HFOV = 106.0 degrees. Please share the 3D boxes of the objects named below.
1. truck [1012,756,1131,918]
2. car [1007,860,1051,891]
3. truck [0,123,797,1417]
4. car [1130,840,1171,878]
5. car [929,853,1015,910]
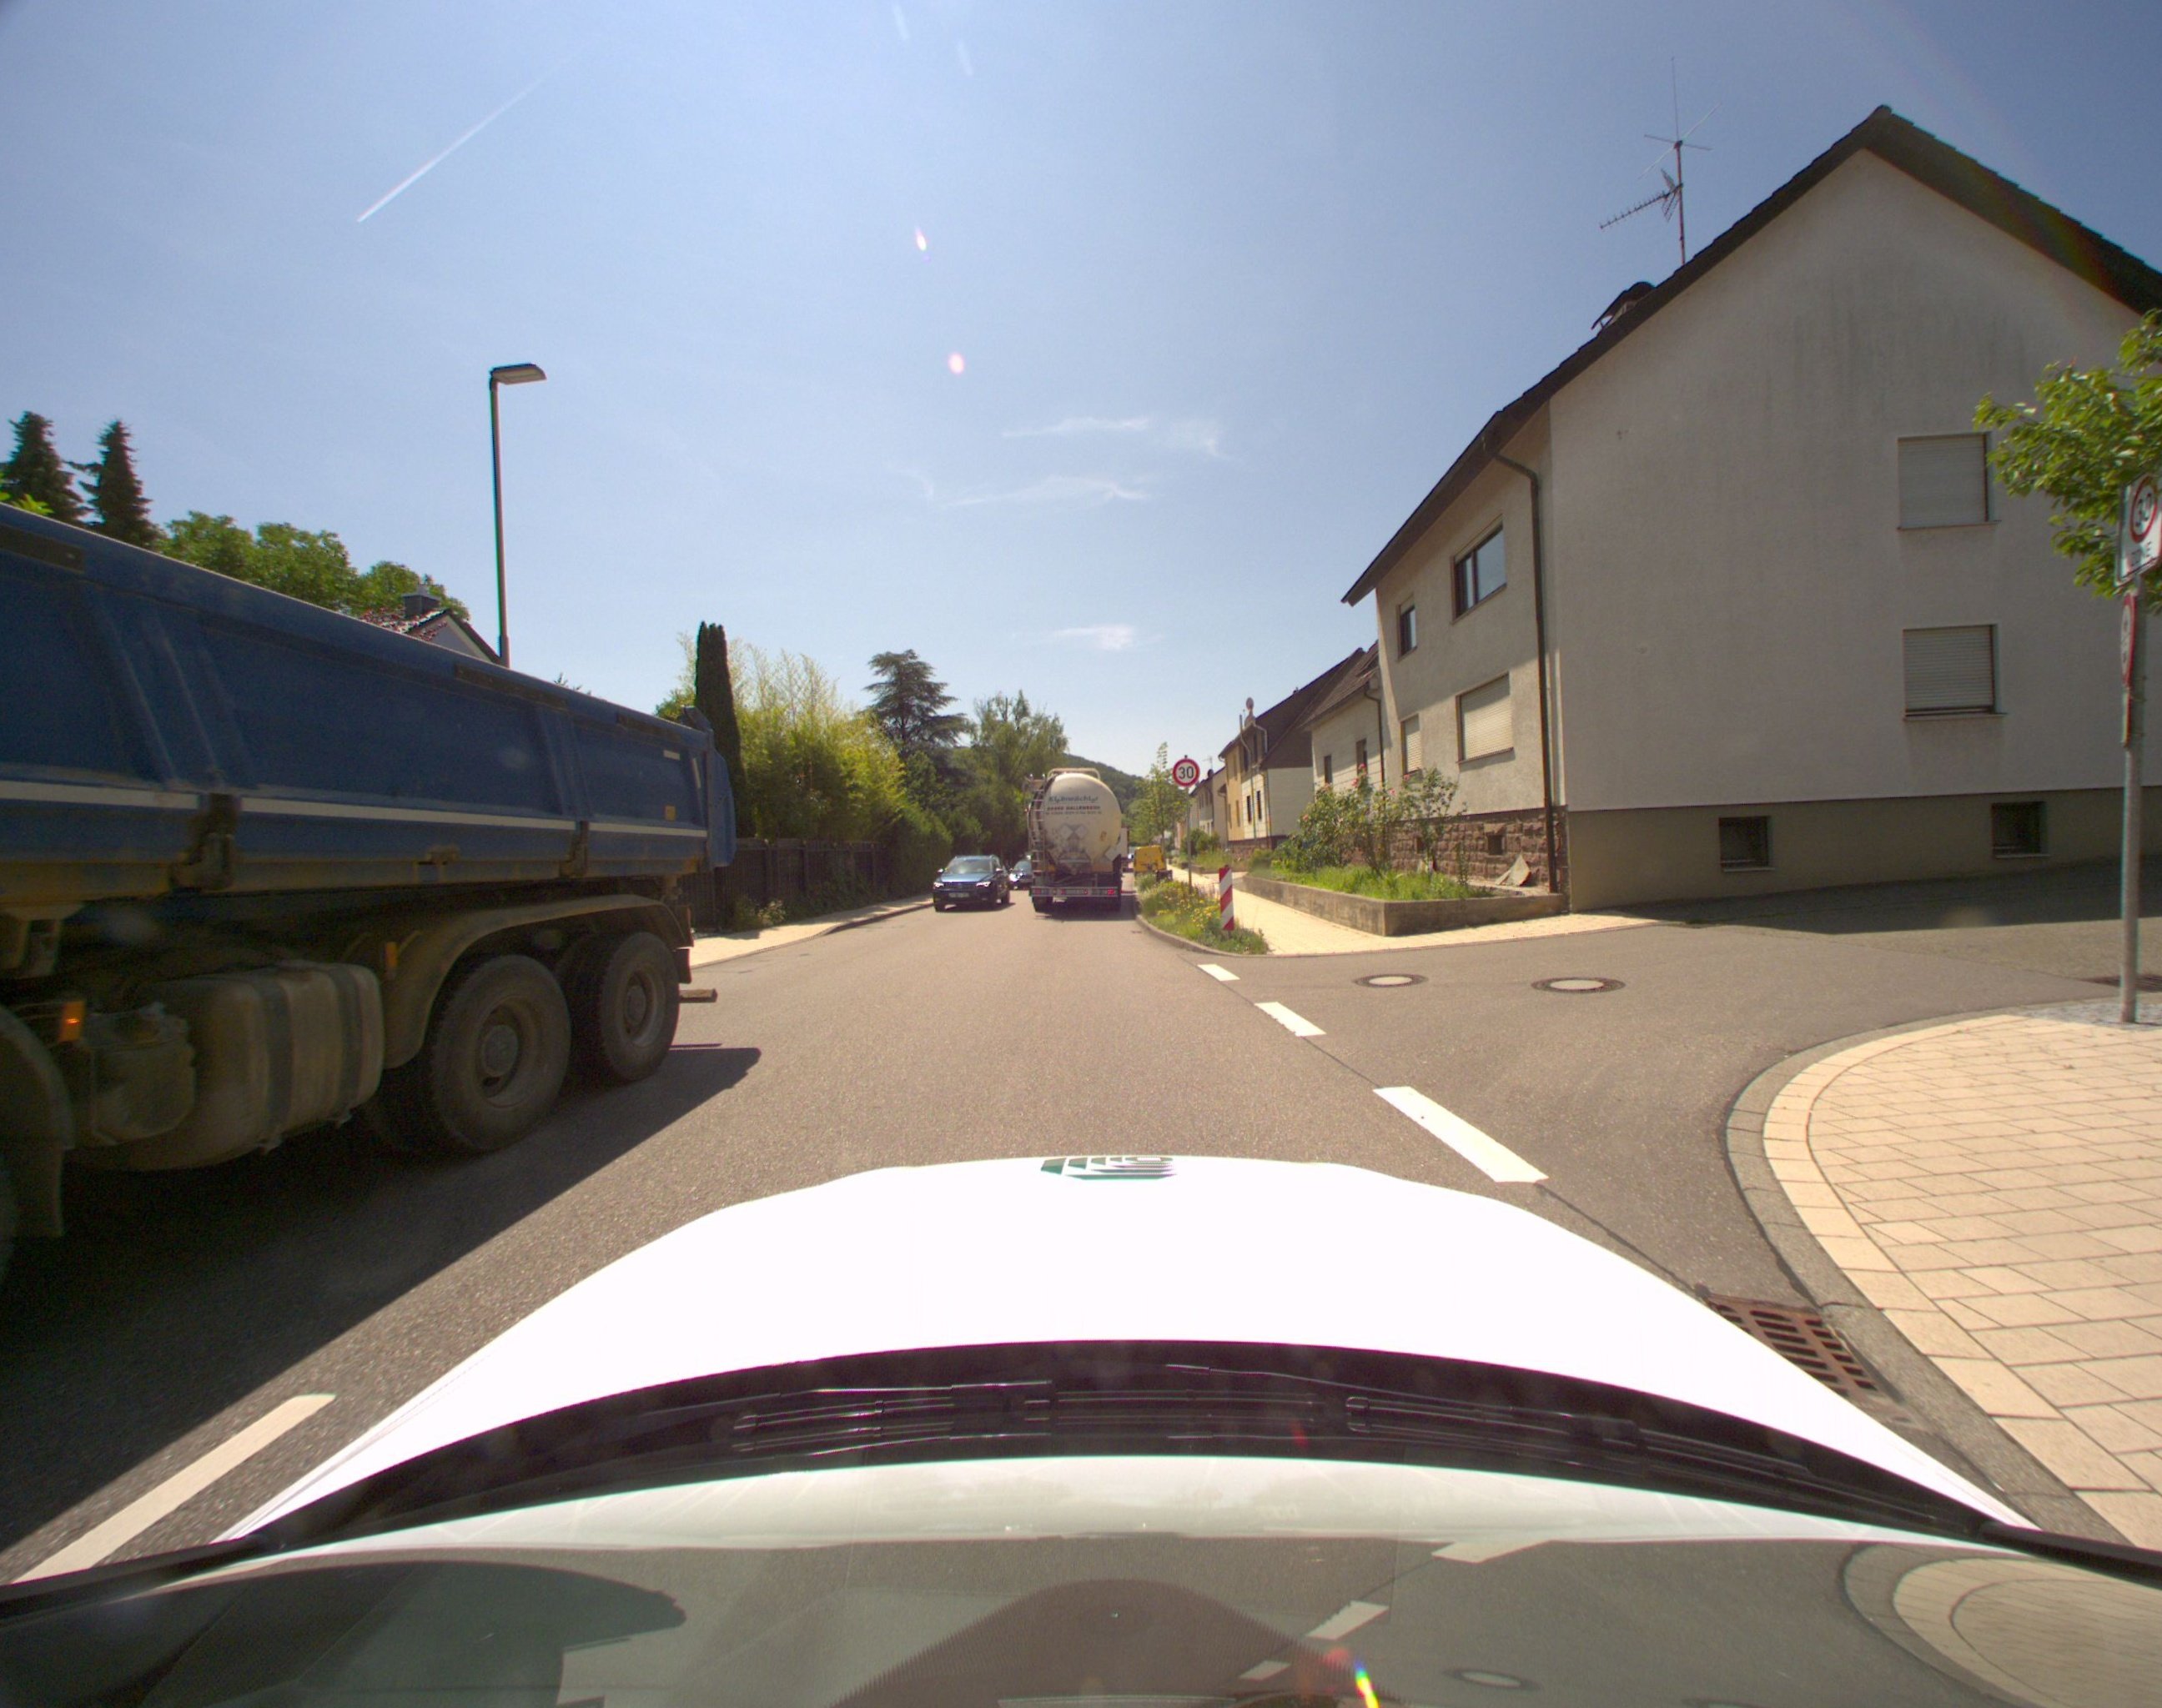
[{"bbox_3d":[0.094,-0.456,26.277,2.737,4.056,10.903,-2,0,5],"label":"truck"},{"bbox_3d":[-2.471,0.999,39.611,1.760,1.402,4.249,-1,-1,2],"label":"car"},{"bbox_3d":[-4.300,-0.231,3.134,2.529,3.738,8.634,-3,0,5],"label":"truck"},{"bbox_3d":[4.331,0.339,51.740,2.181,2.013,5.626,-6,-1,2],"label":"car"},{"bbox_3d":[-3.356,0.832,25.974,1.880,1.645,4.616,-1,-1,3],"label":"car"}]
